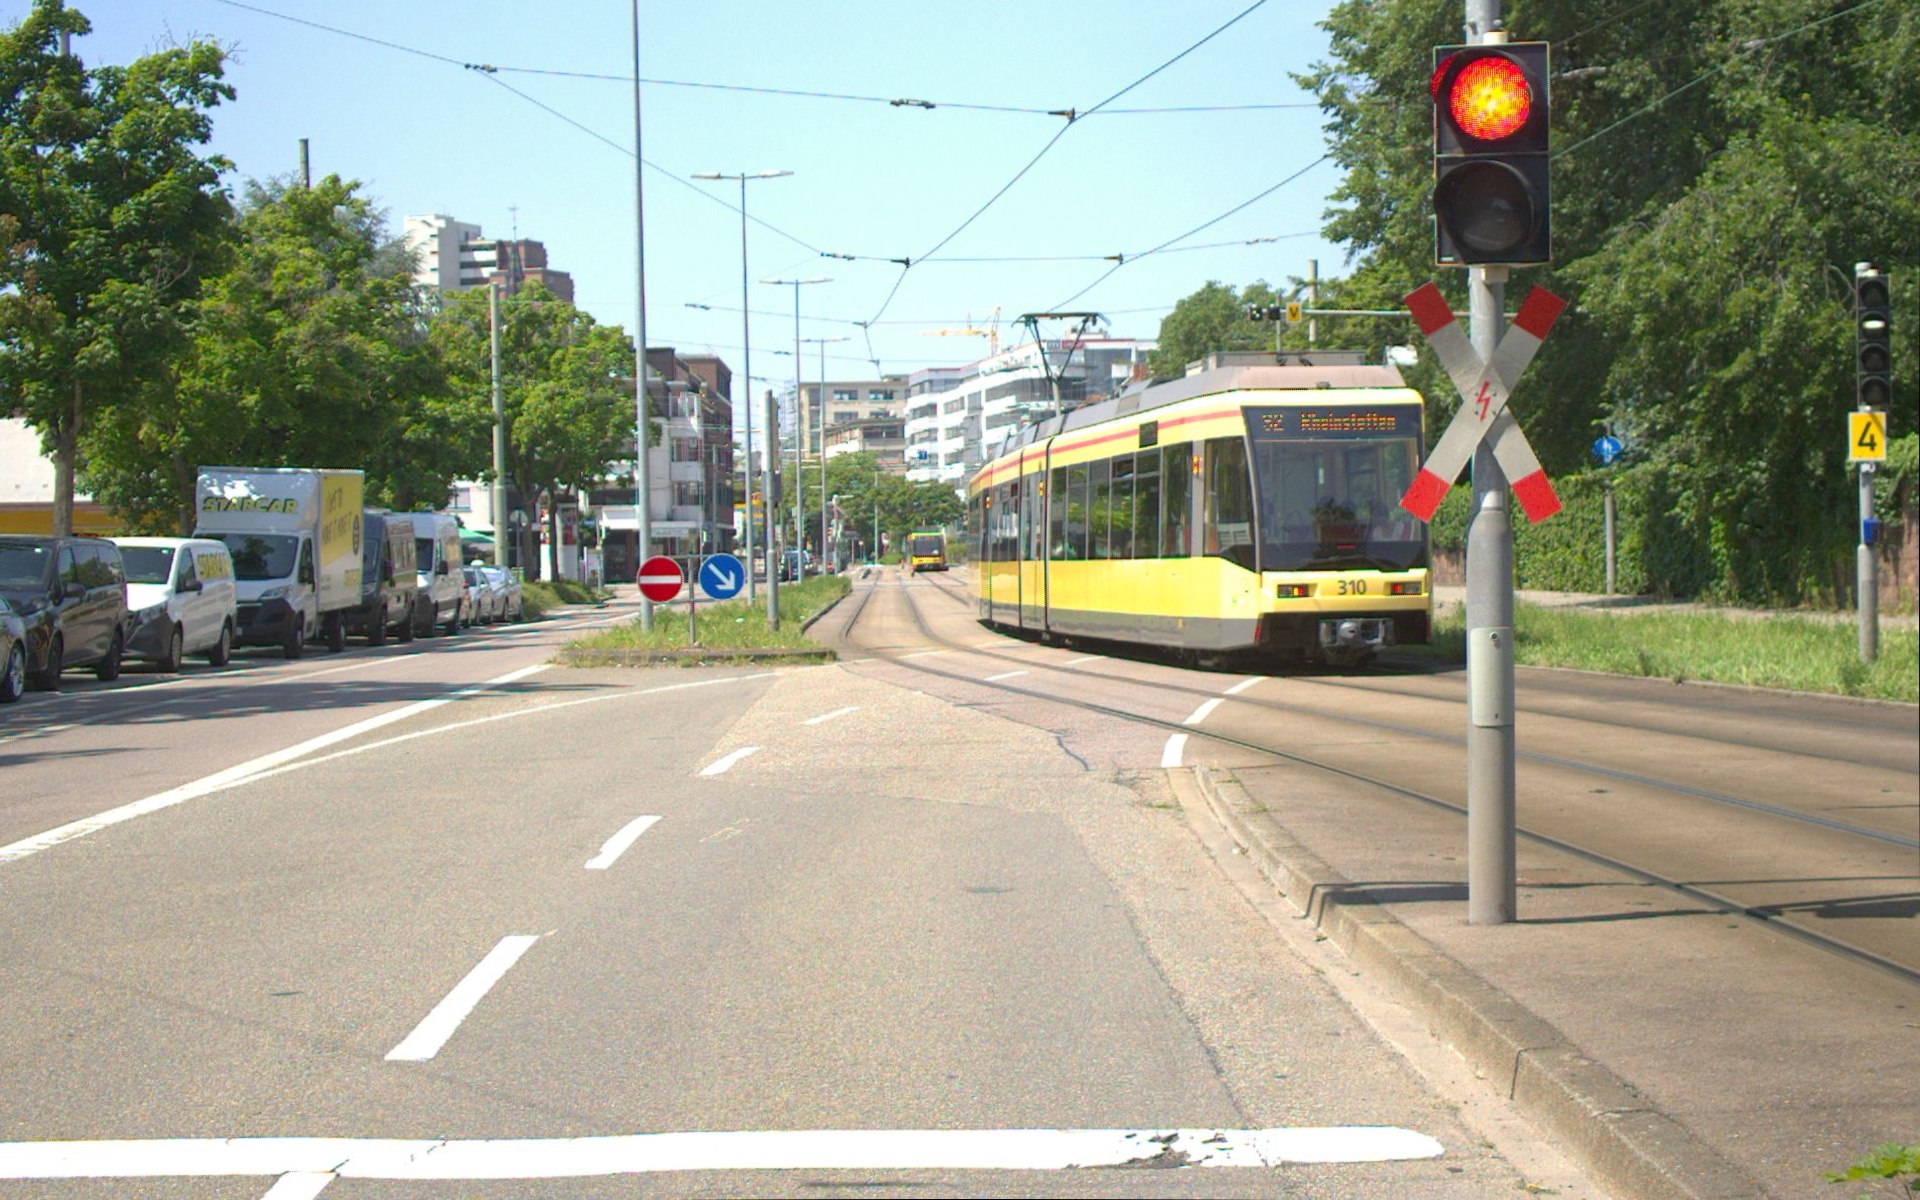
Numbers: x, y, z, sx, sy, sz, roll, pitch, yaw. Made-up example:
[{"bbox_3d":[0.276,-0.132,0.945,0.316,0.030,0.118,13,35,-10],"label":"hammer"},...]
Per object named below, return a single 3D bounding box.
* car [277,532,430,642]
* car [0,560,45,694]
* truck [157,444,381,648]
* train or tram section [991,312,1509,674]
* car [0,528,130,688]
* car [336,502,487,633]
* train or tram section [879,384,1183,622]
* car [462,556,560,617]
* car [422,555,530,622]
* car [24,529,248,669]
[{"bbox_3d":[-11.568,-0.285,65.881,2.061,1.970,4.871,-1,1,0],"label":"car"},{"bbox_3d":[-11.306,0.323,36.769,1.868,1.432,4.343,-1,1,0],"label":"car"},{"bbox_3d":[-11.645,-0.937,58.497,2.157,3.199,7.082,2,1,1],"label":"truck"},{"bbox_3d":[3.058,-1.288,44.243,2.943,3.679,18.394,0,1,-7],"label":"train or tram section"},{"bbox_3d":[-11.840,0.076,43.017,1.868,1.888,4.271,-1,1,0],"label":"car"},{"bbox_3d":[-11.714,-0.724,73.806,2.157,2.630,5.611,2,1,1],"label":"car"},{"bbox_3d":[0.882,-1.725,63.441,2.943,3.679,20.288,0,1,-6],"label":"train or tram section"},{"bbox_3d":[-12.346,-0.397,94.769,2.061,1.576,4.871,-1,1,0],"label":"car"},{"bbox_3d":[-12.284,-0.317,87.543,2.061,1.576,4.871,-1,1,0],"label":"car"},{"bbox_3d":[-11.884,-0.057,49.913,2.061,1.891,4.871,-1,1,0],"label":"car"}]
